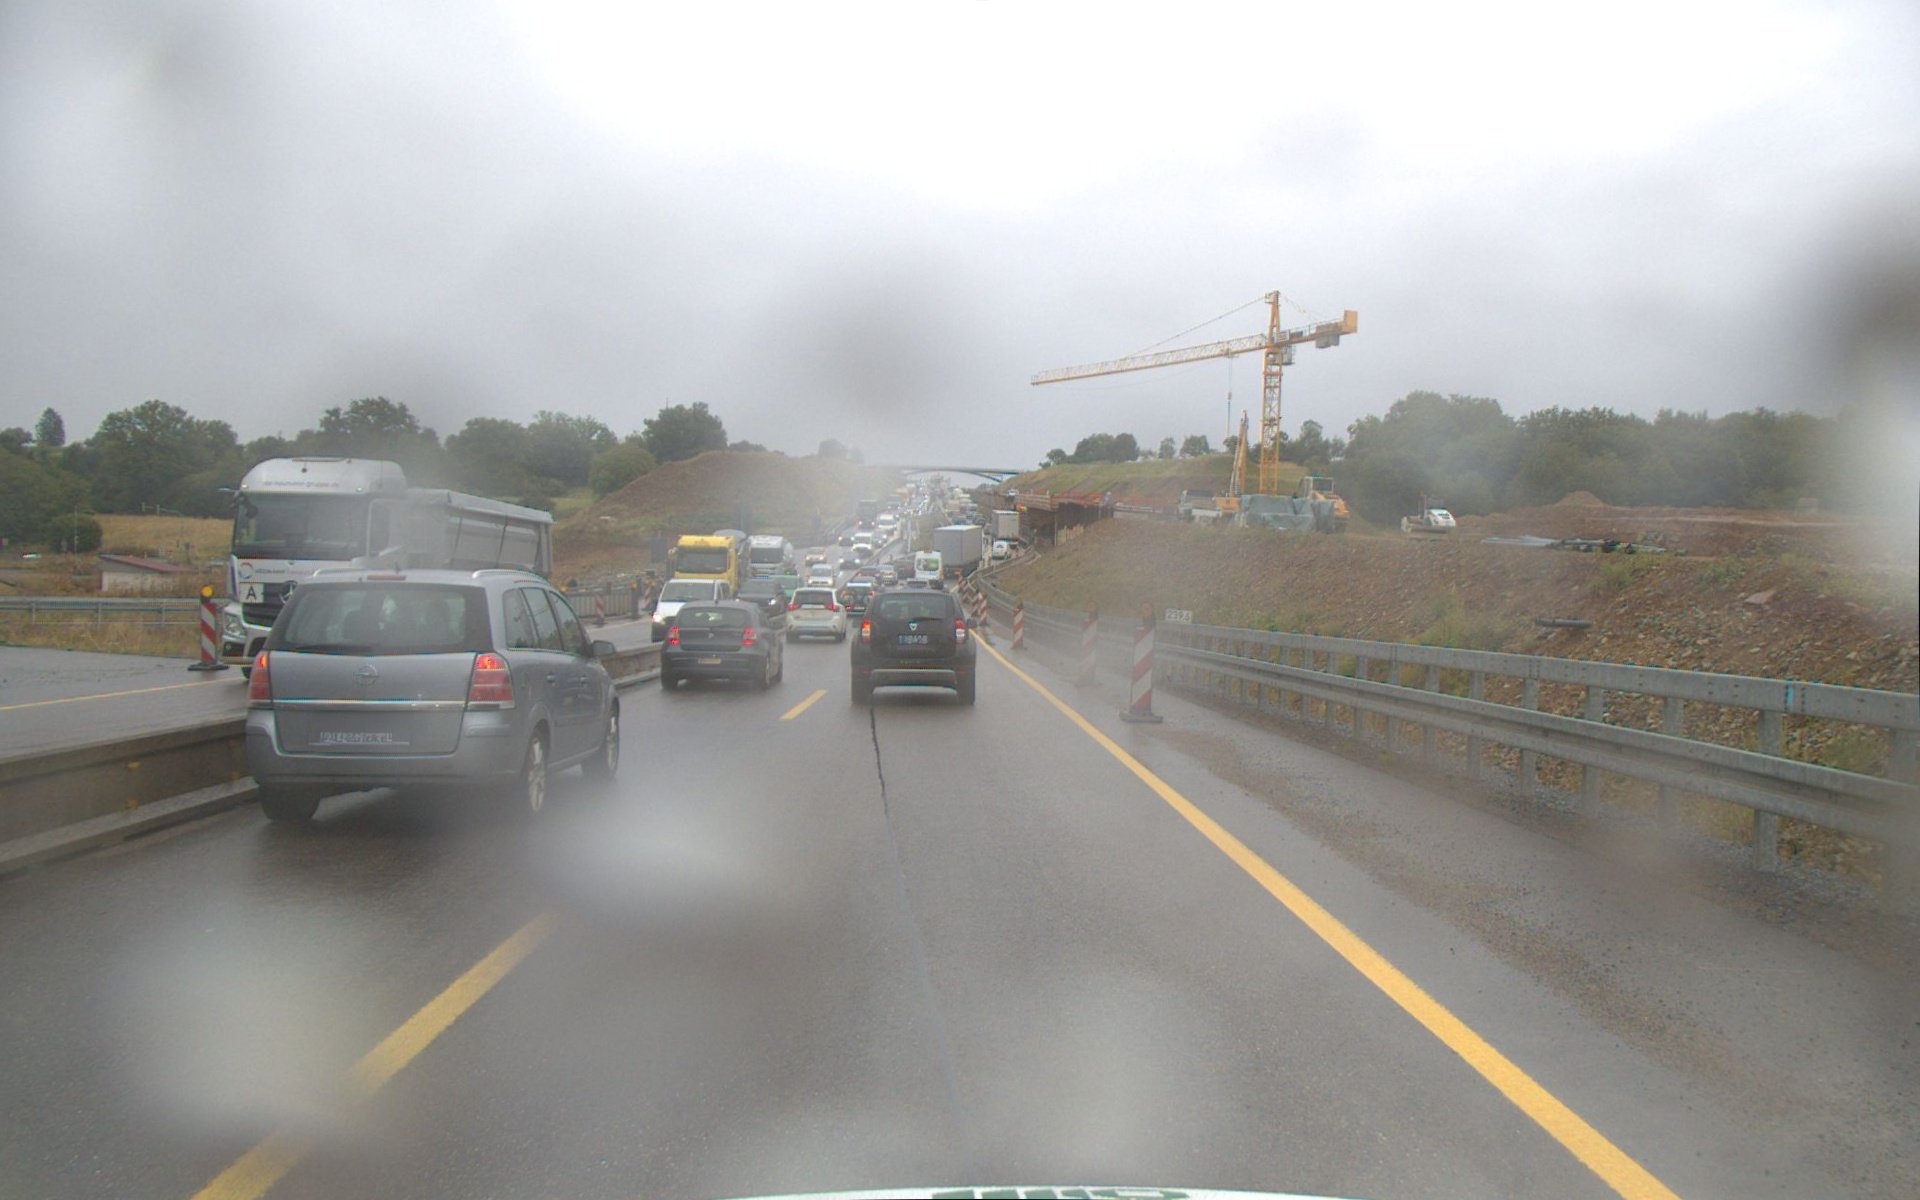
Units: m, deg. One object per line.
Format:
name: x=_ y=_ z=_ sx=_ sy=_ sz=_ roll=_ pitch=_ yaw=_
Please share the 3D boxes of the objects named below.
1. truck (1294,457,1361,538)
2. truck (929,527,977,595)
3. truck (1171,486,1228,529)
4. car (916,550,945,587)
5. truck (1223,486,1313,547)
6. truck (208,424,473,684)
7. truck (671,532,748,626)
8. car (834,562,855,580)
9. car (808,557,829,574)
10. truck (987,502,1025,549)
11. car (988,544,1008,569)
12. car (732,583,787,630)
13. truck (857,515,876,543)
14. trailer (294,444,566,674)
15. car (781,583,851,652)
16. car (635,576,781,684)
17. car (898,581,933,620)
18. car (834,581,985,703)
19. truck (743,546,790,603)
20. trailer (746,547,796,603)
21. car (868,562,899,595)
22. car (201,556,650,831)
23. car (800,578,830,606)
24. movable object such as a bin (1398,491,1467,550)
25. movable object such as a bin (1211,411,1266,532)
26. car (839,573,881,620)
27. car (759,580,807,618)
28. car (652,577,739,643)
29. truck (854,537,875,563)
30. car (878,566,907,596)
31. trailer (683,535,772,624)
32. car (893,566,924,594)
truck: x=21.228 y=-5.850 z=95.778 sx=2.325 sy=4.292 sz=5.977 roll=1 pitch=0 yaw=-2
truck: x=-0.530 y=-3.223 z=141.091 sx=3.036 sy=5.520 sz=9.450 roll=1 pitch=0 yaw=6
truck: x=16.408 y=-6.316 z=113.751 sx=2.592 sy=2.599 sz=6.982 roll=1 pitch=0 yaw=-2
car: x=-2.096 y=-2.236 z=118.859 sx=1.952 sy=2.527 sz=4.982 roll=1 pitch=0 yaw=1
truck: x=17.038 y=-4.567 z=92.076 sx=3.326 sy=2.925 sz=8.959 roll=1 pitch=0 yaw=0
truck: x=-10.345 y=-0.734 z=28.216 sx=2.631 sy=3.995 sz=5.272 roll=0 pitch=0 yaw=-2
truck: x=-11.530 y=-0.958 z=76.568 sx=2.694 sy=4.133 sz=6.146 roll=1 pitch=0 yaw=-1
car: x=-10.638 y=-2.666 z=152.042 sx=1.737 sy=1.530 sz=4.677 roll=1 pitch=1 yaw=-2
car: x=-13.349 y=-3.233 z=155.758 sx=1.752 sy=1.573 sz=3.999 roll=1 pitch=1 yaw=-2
truck: x=5.483 y=-8.858 z=199.678 sx=3.727 sy=5.130 sz=12.916 roll=1 pitch=0 yaw=-2
car: x=3.958 y=-4.560 z=173.207 sx=1.953 sy=2.527 sz=4.741 roll=1 pitch=0 yaw=-1
car: x=-8.076 y=0.251 z=66.963 sx=1.751 sy=1.837 sz=5.188 roll=0 pitch=0 yaw=-2
truck: x=-13.951 y=-10.675 z=246.781 sx=2.589 sy=4.038 sz=9.211 roll=1 pitch=3 yaw=-3
trailer: x=-10.469 y=-0.758 z=33.929 sx=2.631 sy=4.032 sz=9.816 roll=0 pitch=0 yaw=-2
car: x=-4.475 y=0.523 z=51.963 sx=1.953 sy=2.049 sz=3.892 roll=1 pitch=0 yaw=-2
car: x=-4.095 y=0.454 z=27.488 sx=1.954 sy=1.628 sz=4.138 roll=1 pitch=0 yaw=-3
car: x=-2.558 y=0.022 z=95.587 sx=1.953 sy=2.200 sz=4.140 roll=1 pitch=0 yaw=-1
car: x=-0.722 y=0.561 z=24.663 sx=2.039 sy=1.628 sz=4.140 roll=1 pitch=0 yaw=-1
truck: x=-13.018 y=-1.700 z=111.438 sx=2.568 sy=3.741 sz=6.592 roll=1 pitch=0 yaw=-2
trailer: x=-13.265 y=-1.746 z=117.071 sx=2.568 sy=3.741 sz=11.999 roll=1 pitch=1 yaw=-2
car: x=-5.235 y=-1.463 z=113.499 sx=1.953 sy=2.200 sz=4.140 roll=1 pitch=0 yaw=0
car: x=-3.607 y=0.553 z=12.049 sx=1.953 sy=1.628 sz=4.140 roll=1 pitch=0 yaw=-1
car: x=-9.820 y=-0.549 z=112.251 sx=1.828 sy=1.831 sz=4.161 roll=1 pitch=0 yaw=-2
movable object such as a bin: x=31.763 y=-5.276 z=111.479 sx=2.295 sy=3.662 sz=6.555 roll=1 pitch=0 yaw=-5
movable object such as a bin: x=27.273 y=-12.385 z=161.381 sx=4.618 sy=11.031 sz=10.312 roll=1 pitch=0 yaw=13
car: x=-4.921 y=-0.197 z=80.809 sx=1.954 sy=2.200 sz=4.137 roll=1 pitch=0 yaw=-5
car: x=-8.748 y=-0.080 z=81.992 sx=1.953 sy=1.790 sz=4.686 roll=1 pitch=1 yaw=-1
car: x=-7.737 y=0.258 z=48.837 sx=1.837 sy=1.824 sz=5.358 roll=0 pitch=0 yaw=-2
truck: x=-9.950 y=-5.202 z=173.348 sx=2.037 sy=2.621 sz=5.960 roll=1 pitch=0 yaw=-2
car: x=-5.126 y=-1.405 z=125.630 sx=1.952 sy=2.200 sz=4.141 roll=1 pitch=0 yaw=1
trailer: x=-11.711 y=-1.012 z=84.838 sx=2.694 sy=4.113 sz=15.355 roll=1 pitch=0 yaw=-1
car: x=-4.248 y=-1.640 z=137.605 sx=1.951 sy=2.200 sz=4.144 roll=1 pitch=0 yaw=7
